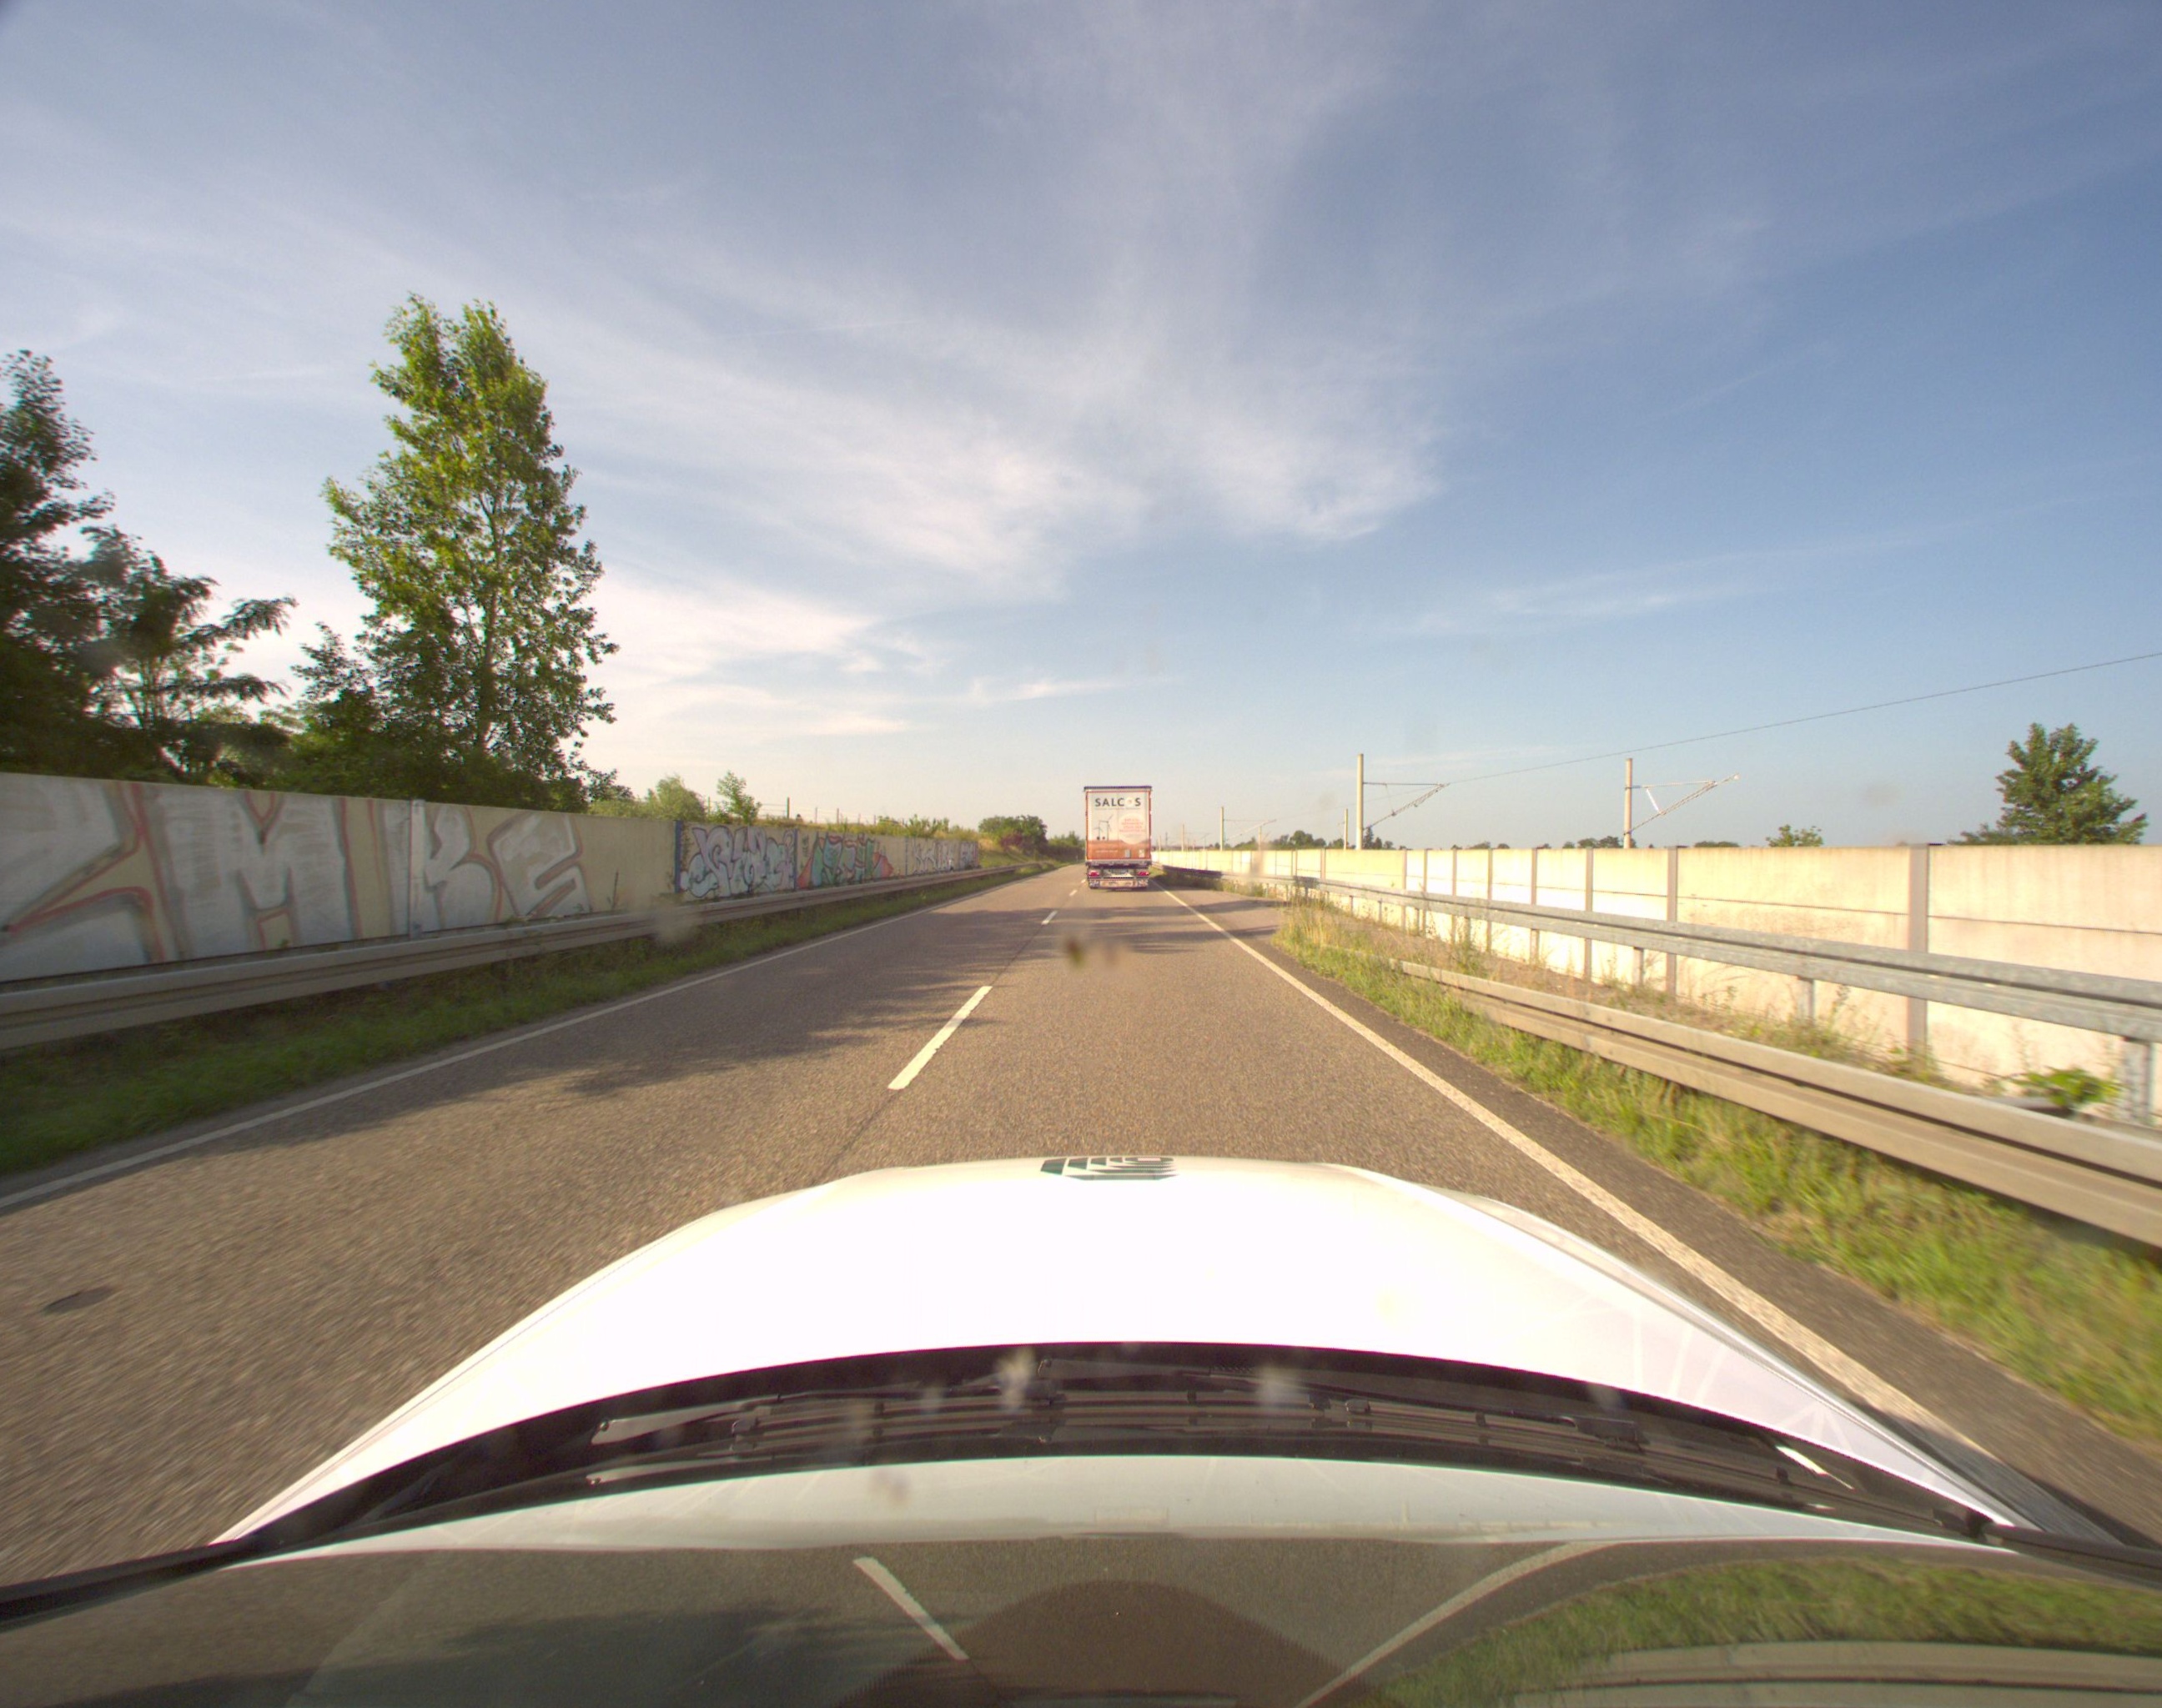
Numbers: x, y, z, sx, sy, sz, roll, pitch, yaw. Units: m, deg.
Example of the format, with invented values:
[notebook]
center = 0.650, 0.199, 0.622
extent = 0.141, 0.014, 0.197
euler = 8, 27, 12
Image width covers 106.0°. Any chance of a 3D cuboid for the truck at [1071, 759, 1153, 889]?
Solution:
[truck]
center = 1.305, -1.204, 37.018
extent = 3.022, 4.920, 11.687
euler = -1, 1, 1
